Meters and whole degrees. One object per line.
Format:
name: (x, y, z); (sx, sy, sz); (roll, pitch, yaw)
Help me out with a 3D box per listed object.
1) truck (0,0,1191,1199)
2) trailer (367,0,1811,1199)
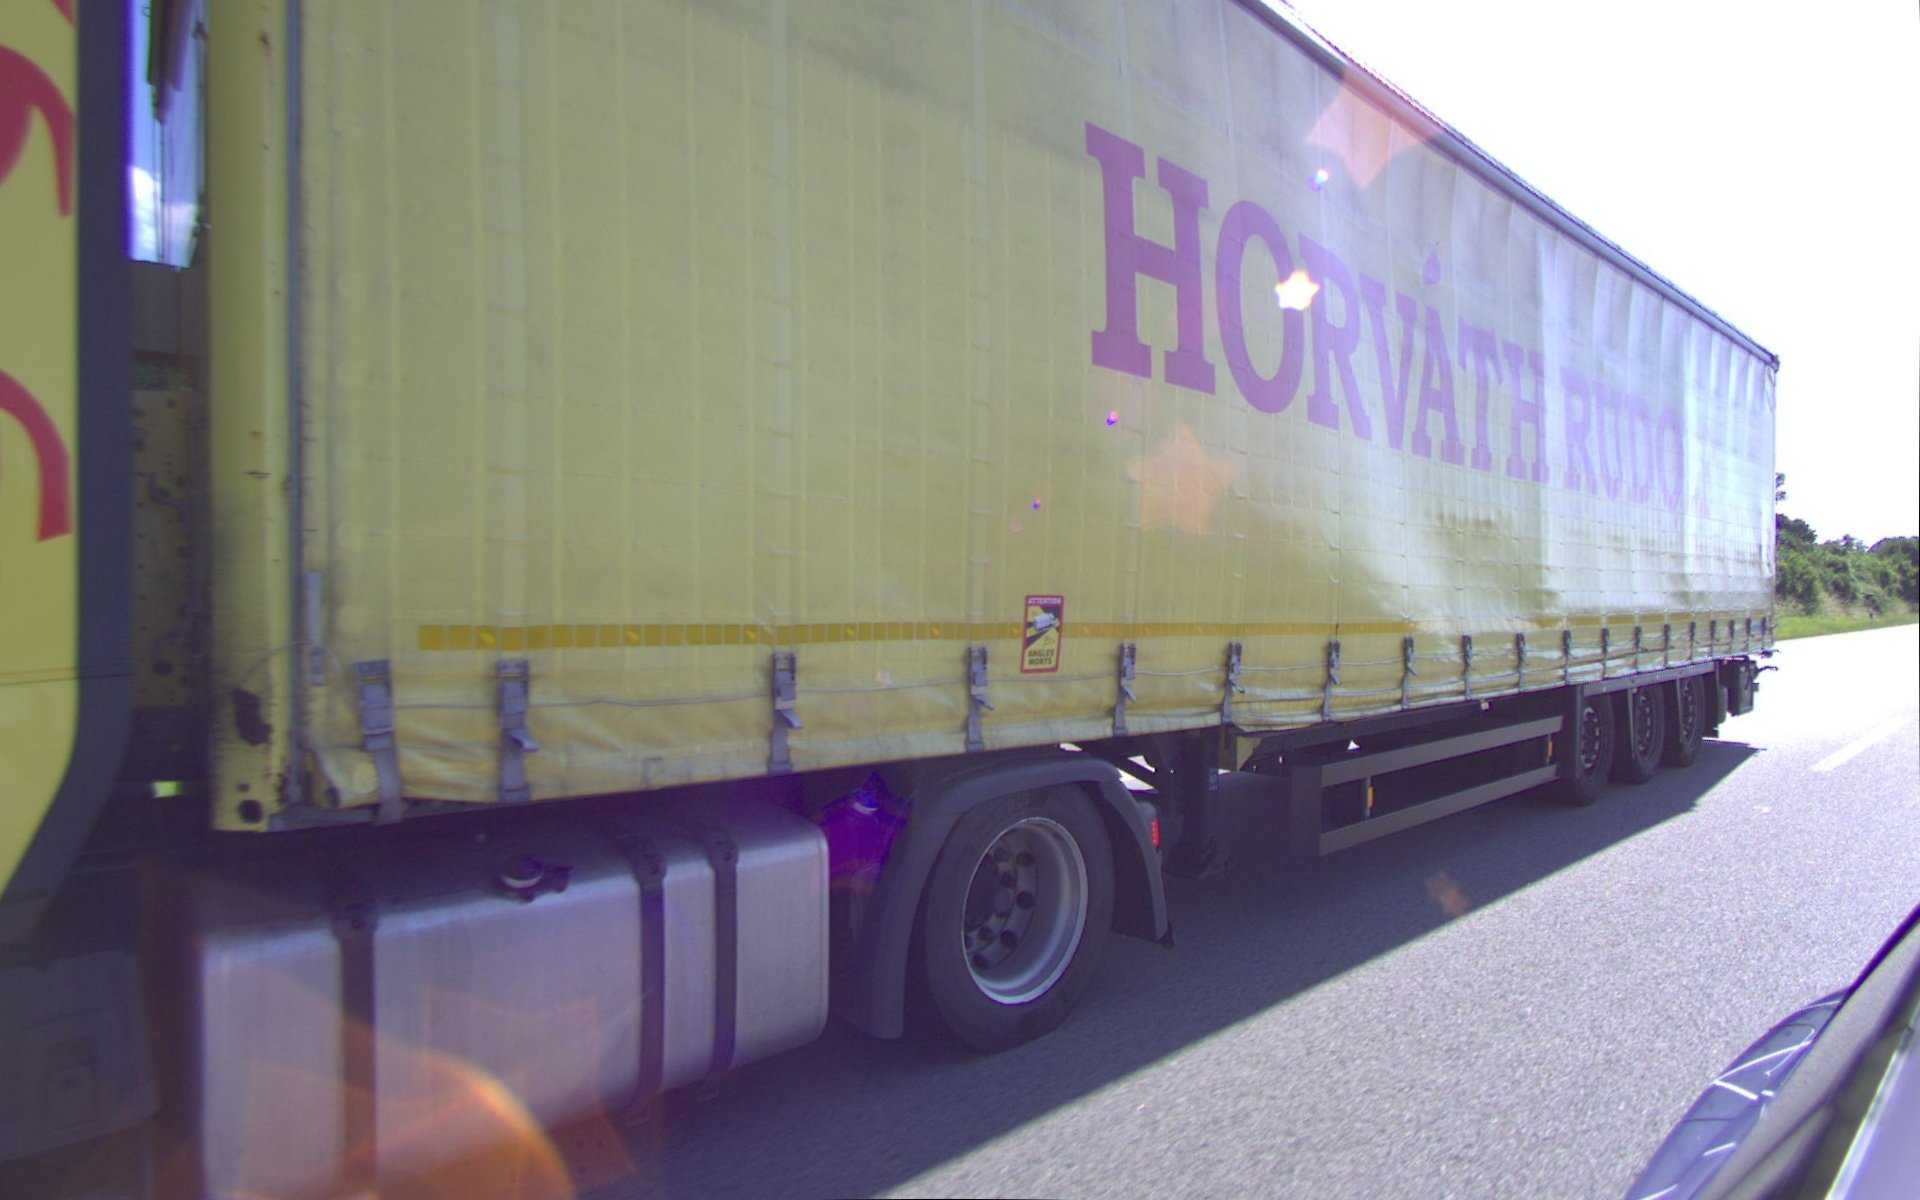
truck: (-2.556, -0.727, 2.651); (6.279, 4.166, 3.173); (-1, 0, -42)
trailer: (3.176, -0.786, 7.714); (12.958, 4.110, 3.189); (-1, 0, -41)
